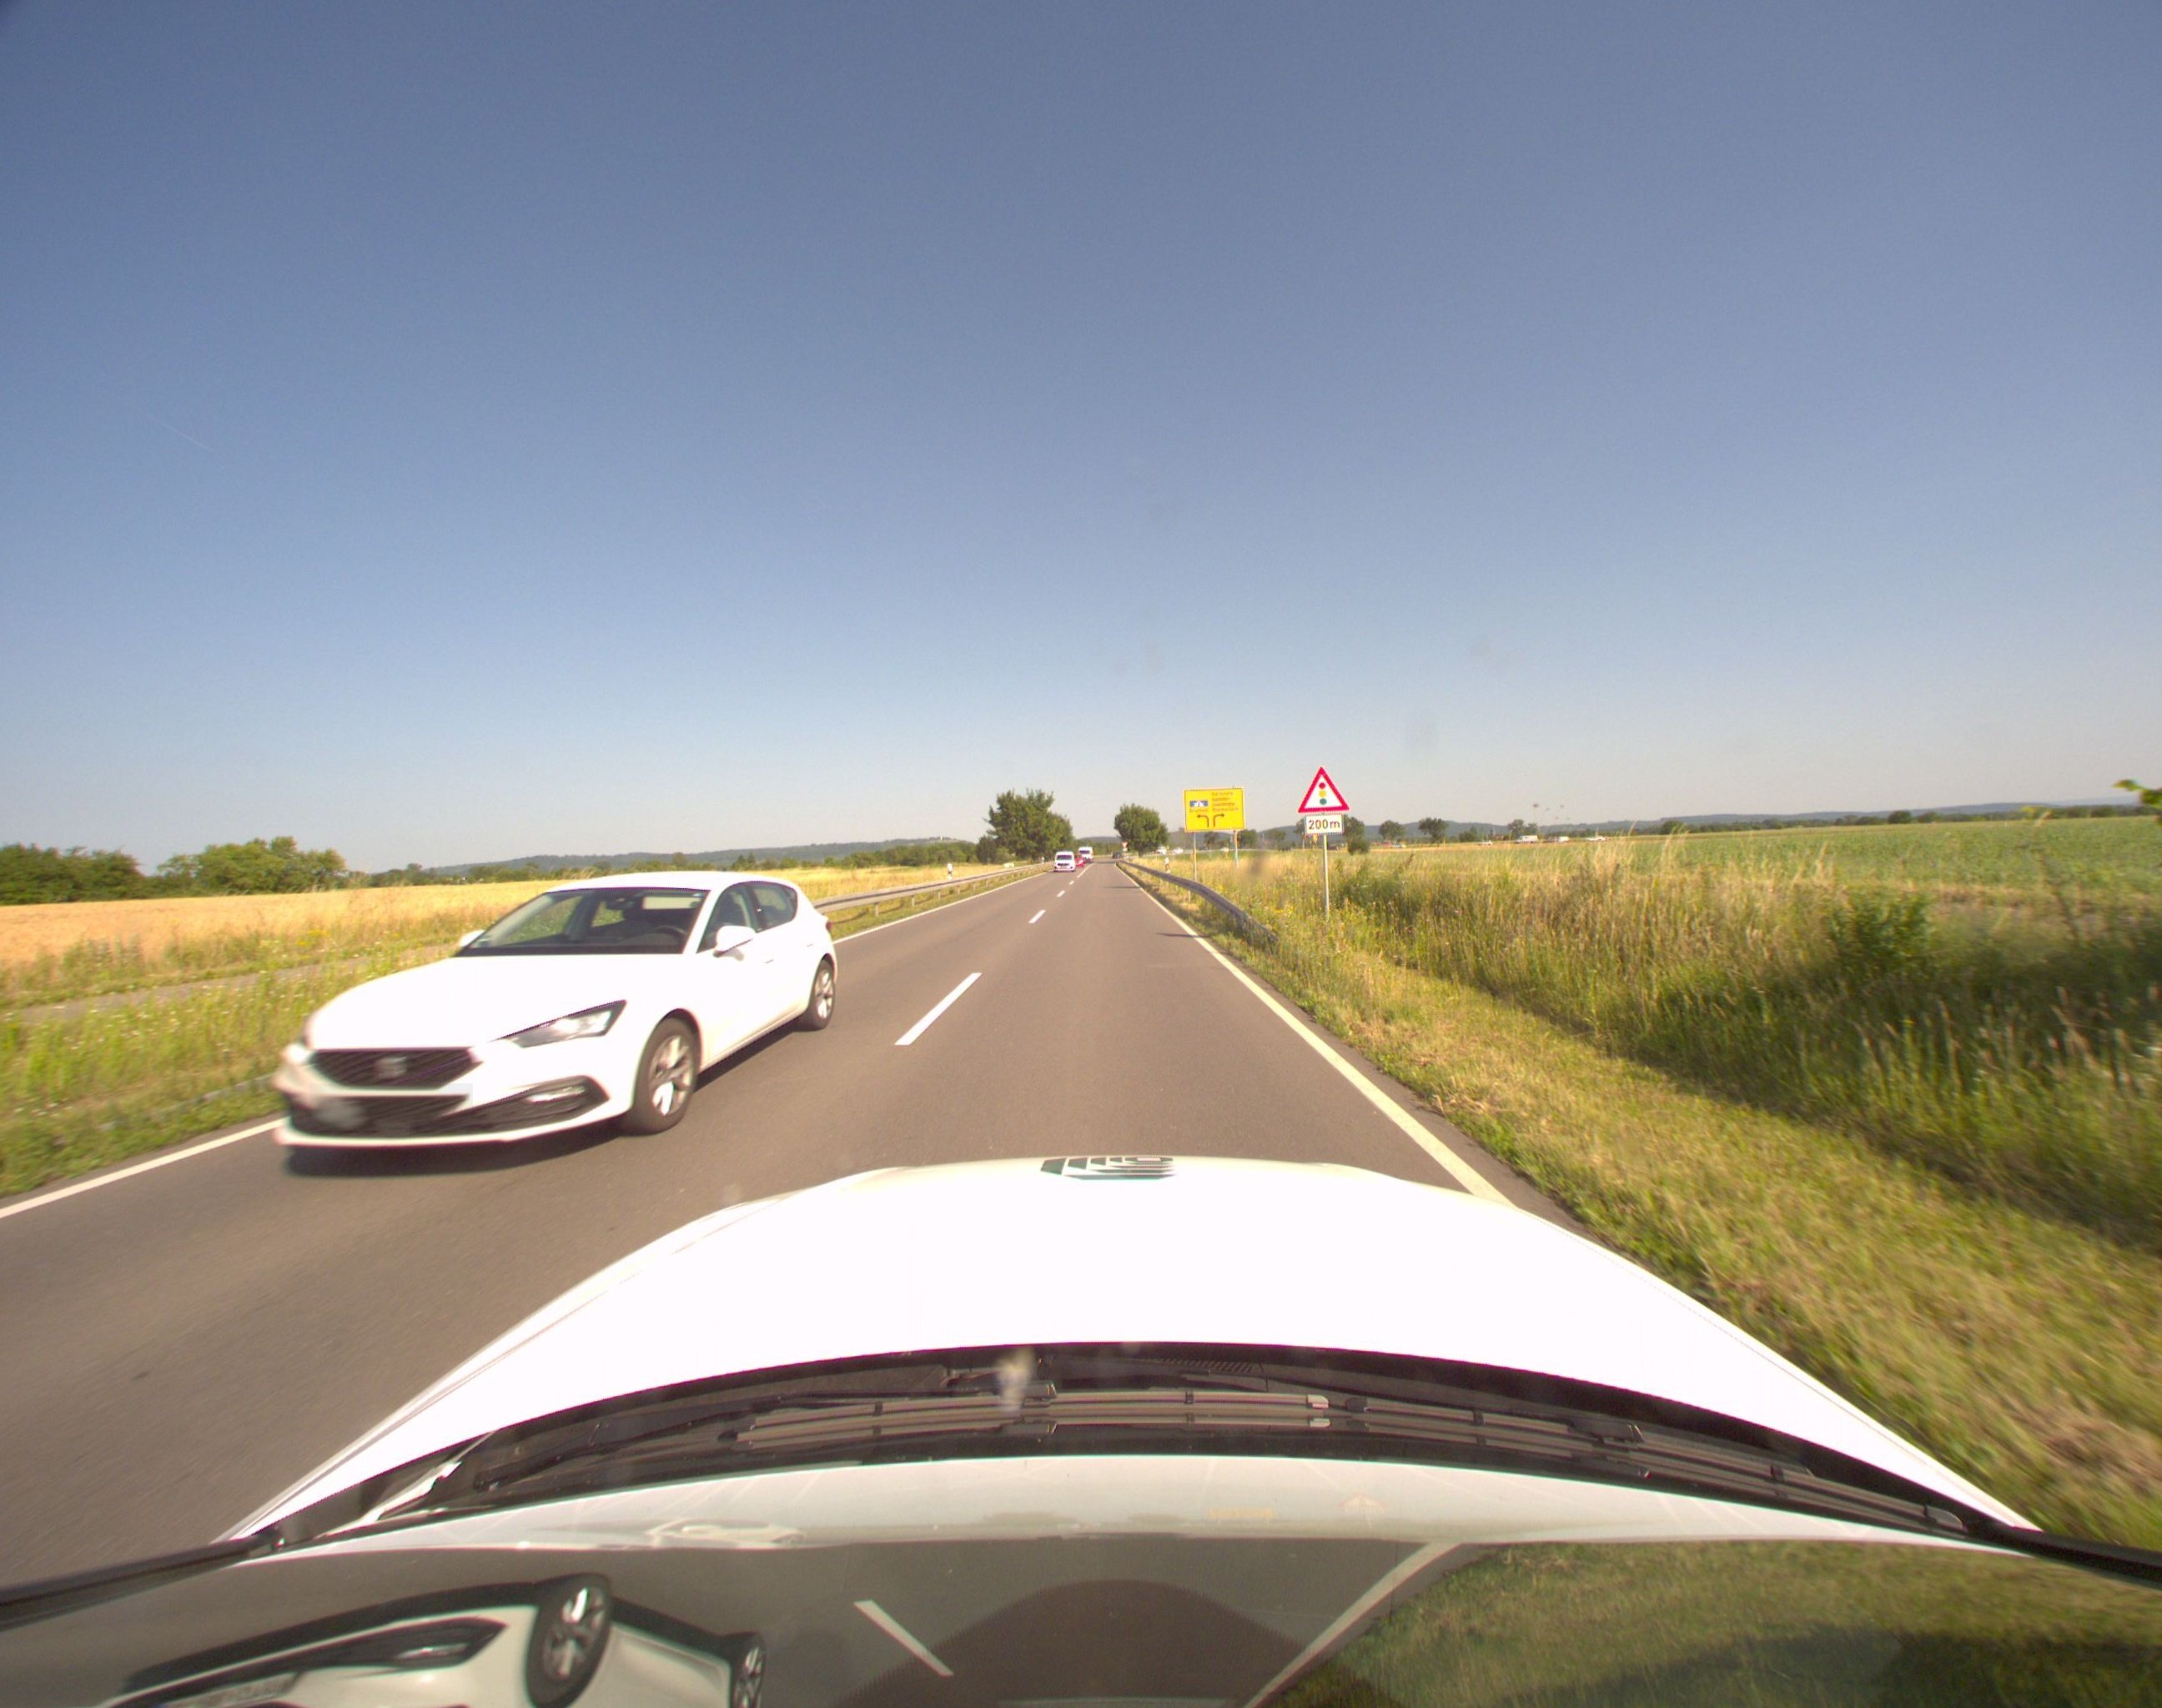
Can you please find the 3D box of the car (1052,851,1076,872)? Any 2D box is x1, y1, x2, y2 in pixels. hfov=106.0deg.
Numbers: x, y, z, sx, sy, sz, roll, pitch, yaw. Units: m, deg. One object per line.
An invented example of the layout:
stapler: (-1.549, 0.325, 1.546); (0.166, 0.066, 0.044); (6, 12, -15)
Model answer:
car: (-1.493, 0.618, 72.787); (1.829, 1.787, 4.436); (-2, 0, 2)

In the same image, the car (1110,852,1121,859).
car: (7.187, 0.345, 167.989); (1.633, 1.471, 3.820); (-1, 0, 13)

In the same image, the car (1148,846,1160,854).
car: (18.335, -0.925, 203.513); (1.977, 1.884, 4.613); (-1, 0, 18)

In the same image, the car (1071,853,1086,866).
car: (-0.319, 0.671, 95.955); (1.601, 1.488, 3.781); (-1, 0, 2)

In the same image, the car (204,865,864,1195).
car: (-3.136, 0.843, 6.020); (1.720, 1.437, 4.517); (-2, 0, 1)

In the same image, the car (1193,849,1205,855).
car: (34.361, -0.598, 237.369); (1.975, 1.532, 4.619); (0, 0, 28)

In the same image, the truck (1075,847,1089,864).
truck: (0.151, 0.252, 125.618); (1.986, 2.520, 6.246); (-2, 0, 2)
